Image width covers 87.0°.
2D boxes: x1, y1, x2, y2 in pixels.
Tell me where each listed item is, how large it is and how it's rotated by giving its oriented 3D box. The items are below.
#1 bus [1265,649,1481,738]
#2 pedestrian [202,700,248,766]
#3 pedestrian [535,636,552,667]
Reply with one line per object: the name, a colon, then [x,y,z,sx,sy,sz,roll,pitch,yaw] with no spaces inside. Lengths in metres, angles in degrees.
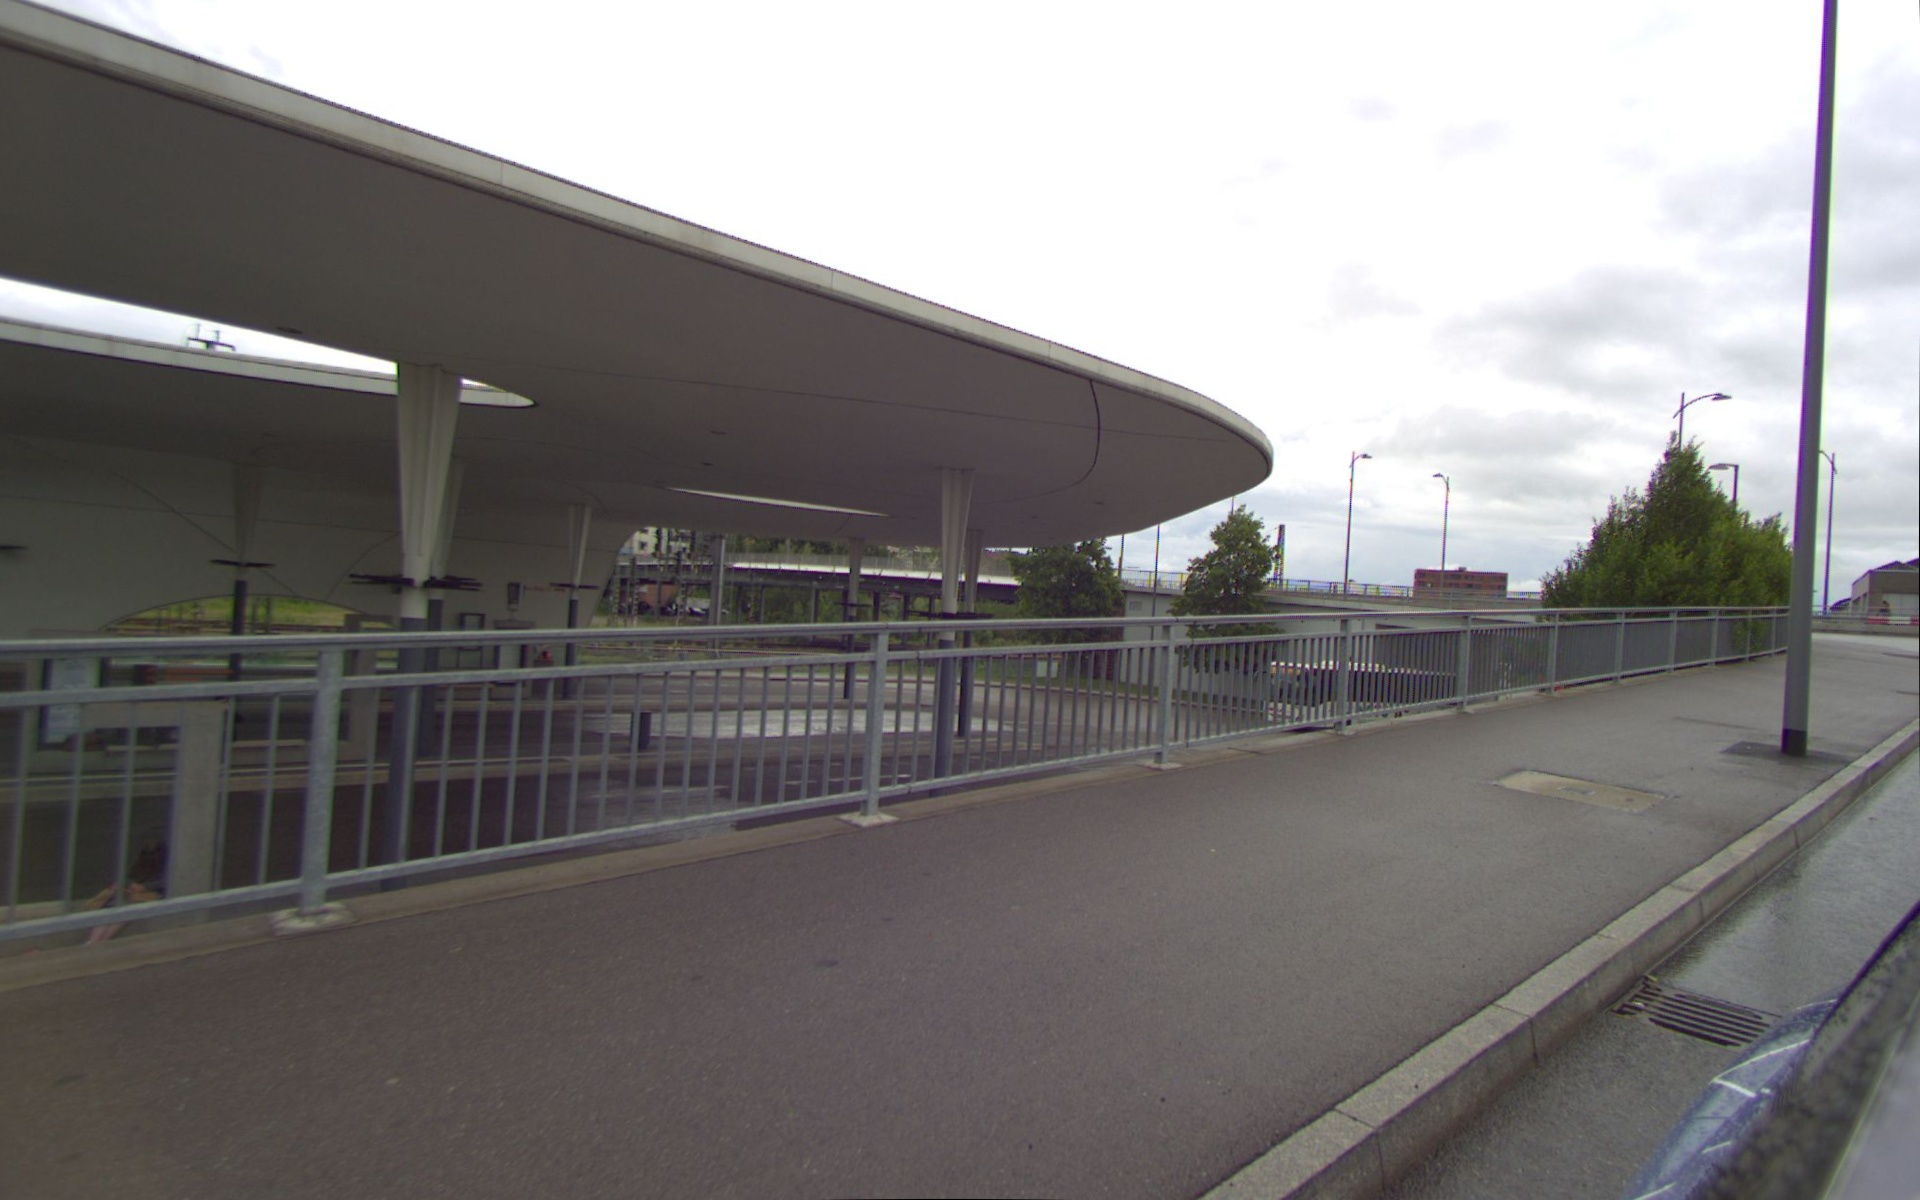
bus: [19.942,4.284,48.399,11.898,3.298,2.800,-1,0,-30]
pedestrian: [-14.314,2.574,19.712,0.659,1.178,0.535,0,0,-44]
pedestrian: [-17.959,2.227,43.626,0.536,1.296,0.568,0,0,-38]
